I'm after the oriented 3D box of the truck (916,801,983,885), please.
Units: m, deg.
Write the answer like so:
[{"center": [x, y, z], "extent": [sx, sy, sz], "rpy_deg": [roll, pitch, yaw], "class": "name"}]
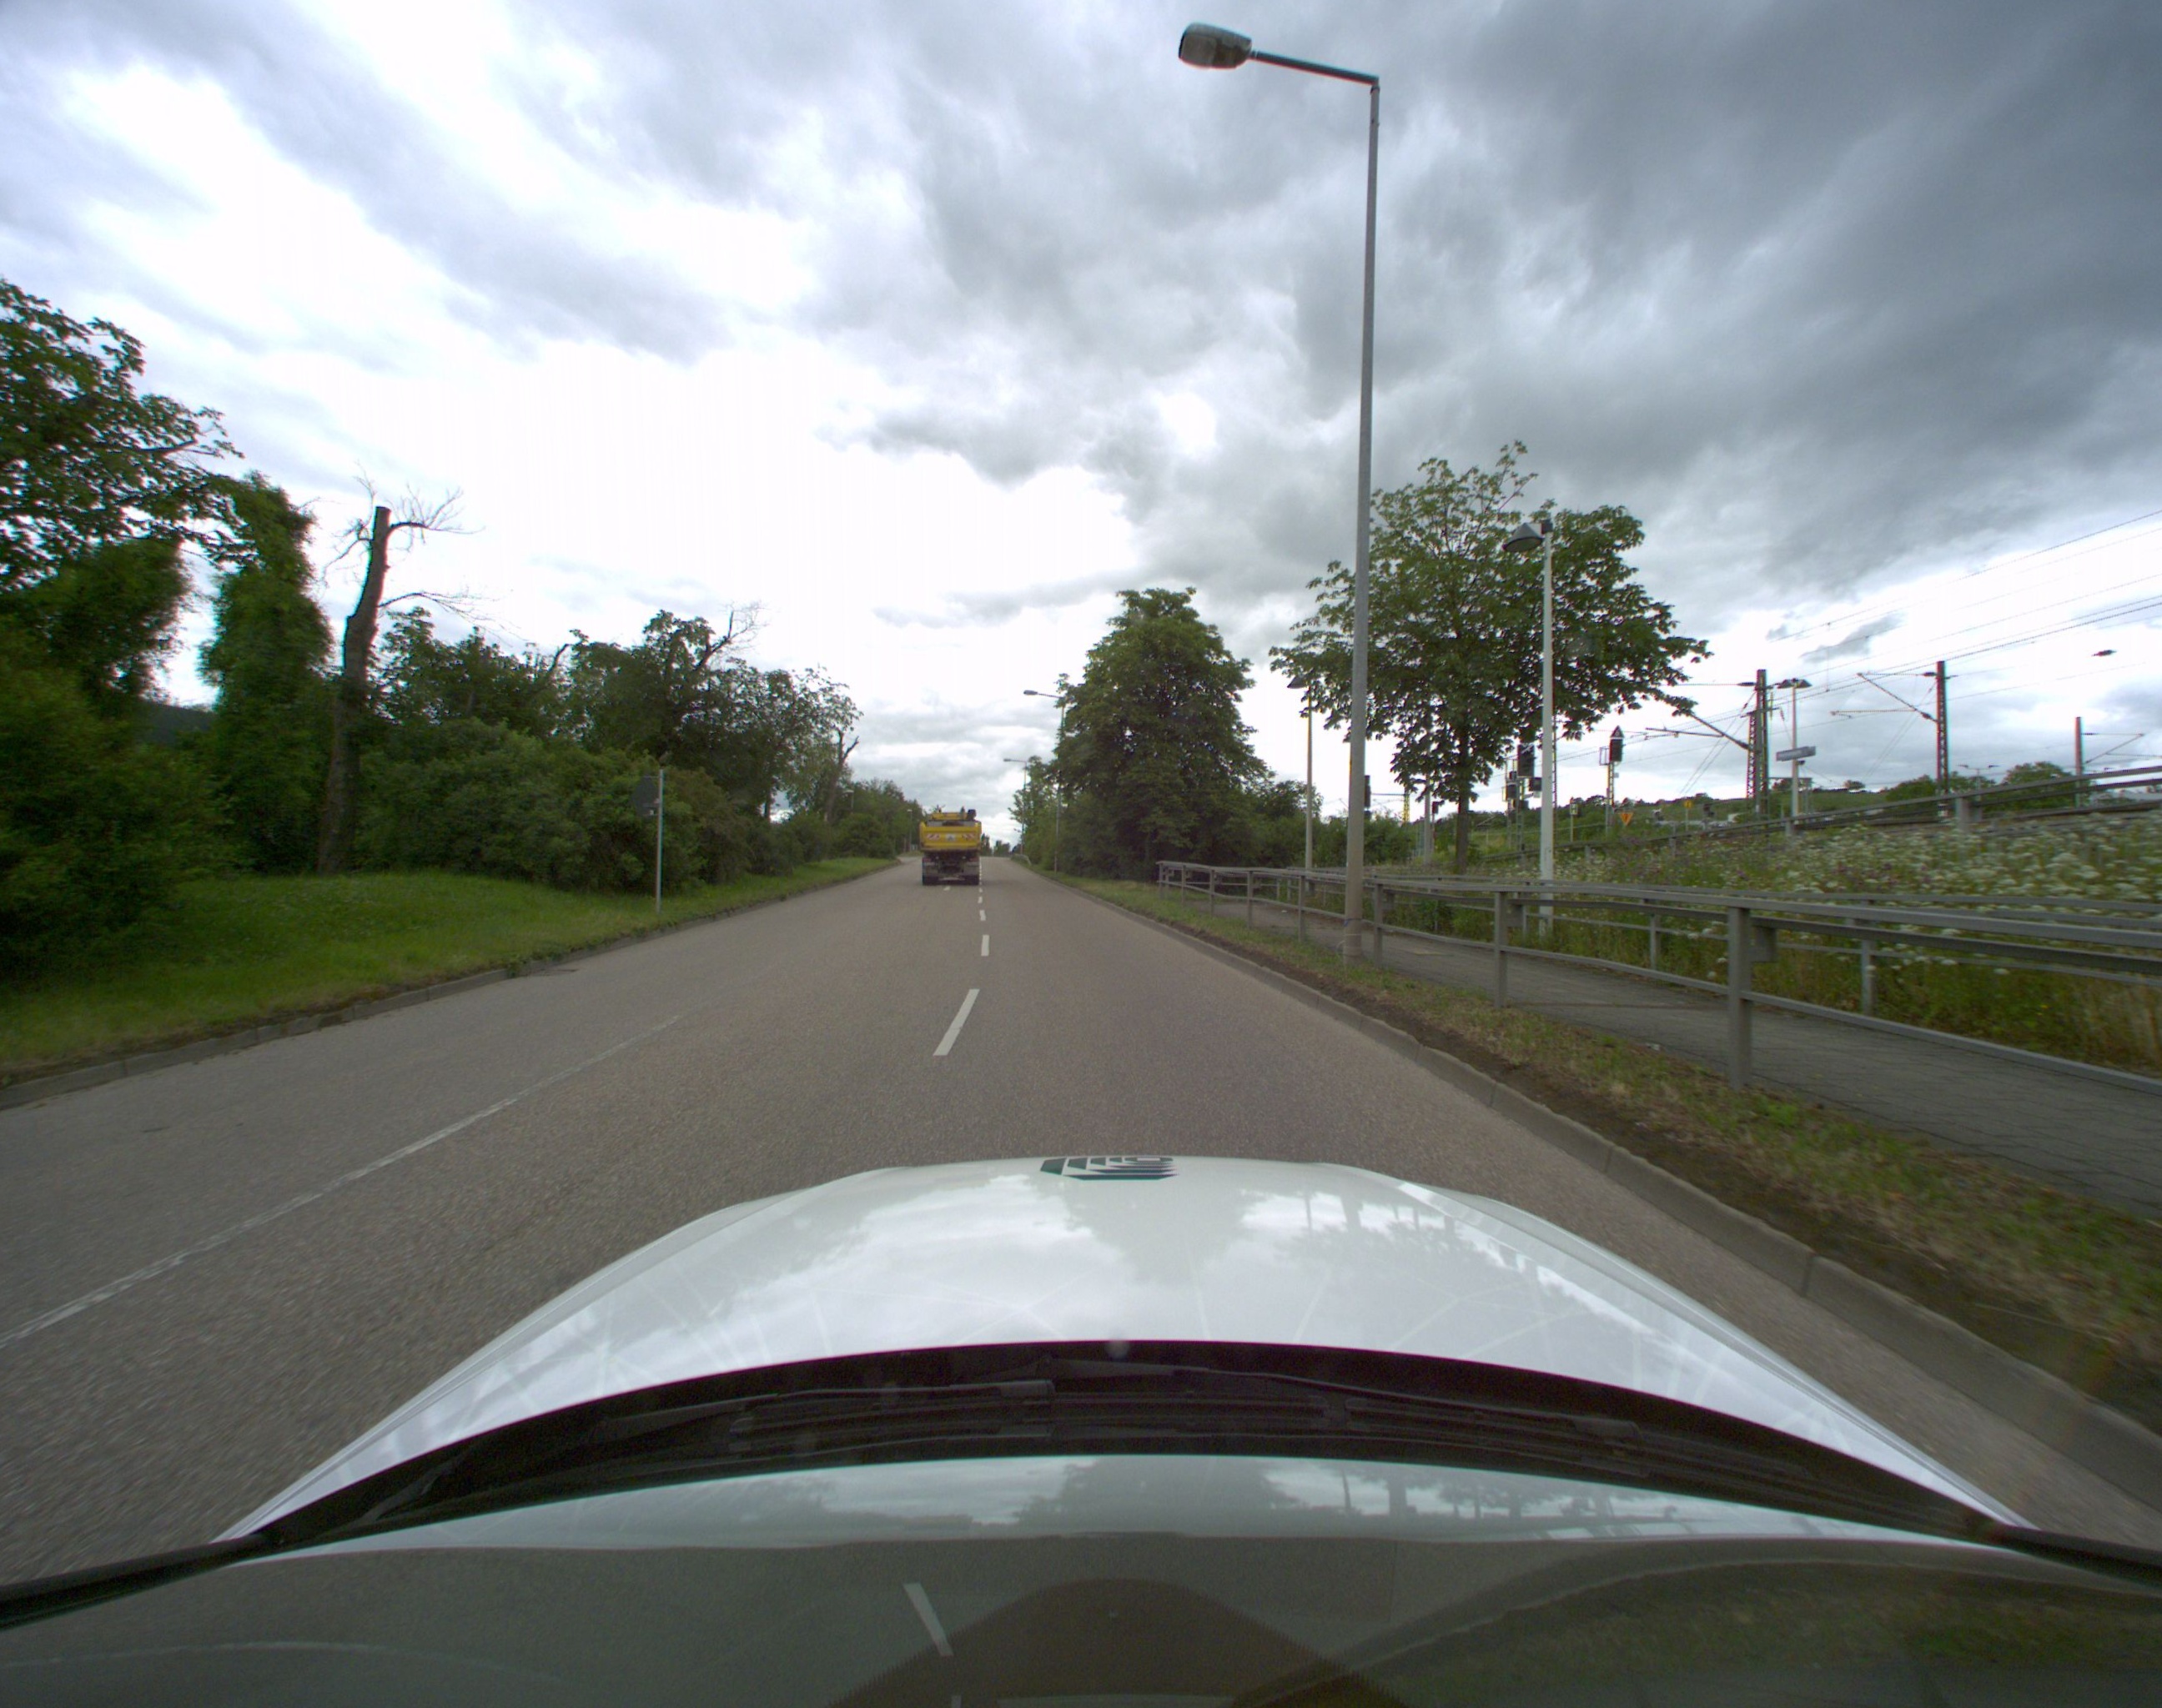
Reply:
[{"center": [-6.068, -0.518, 38.300], "extent": [2.763, 3.483, 8.107], "rpy_deg": [-1, 1, -8], "class": "truck"}]
